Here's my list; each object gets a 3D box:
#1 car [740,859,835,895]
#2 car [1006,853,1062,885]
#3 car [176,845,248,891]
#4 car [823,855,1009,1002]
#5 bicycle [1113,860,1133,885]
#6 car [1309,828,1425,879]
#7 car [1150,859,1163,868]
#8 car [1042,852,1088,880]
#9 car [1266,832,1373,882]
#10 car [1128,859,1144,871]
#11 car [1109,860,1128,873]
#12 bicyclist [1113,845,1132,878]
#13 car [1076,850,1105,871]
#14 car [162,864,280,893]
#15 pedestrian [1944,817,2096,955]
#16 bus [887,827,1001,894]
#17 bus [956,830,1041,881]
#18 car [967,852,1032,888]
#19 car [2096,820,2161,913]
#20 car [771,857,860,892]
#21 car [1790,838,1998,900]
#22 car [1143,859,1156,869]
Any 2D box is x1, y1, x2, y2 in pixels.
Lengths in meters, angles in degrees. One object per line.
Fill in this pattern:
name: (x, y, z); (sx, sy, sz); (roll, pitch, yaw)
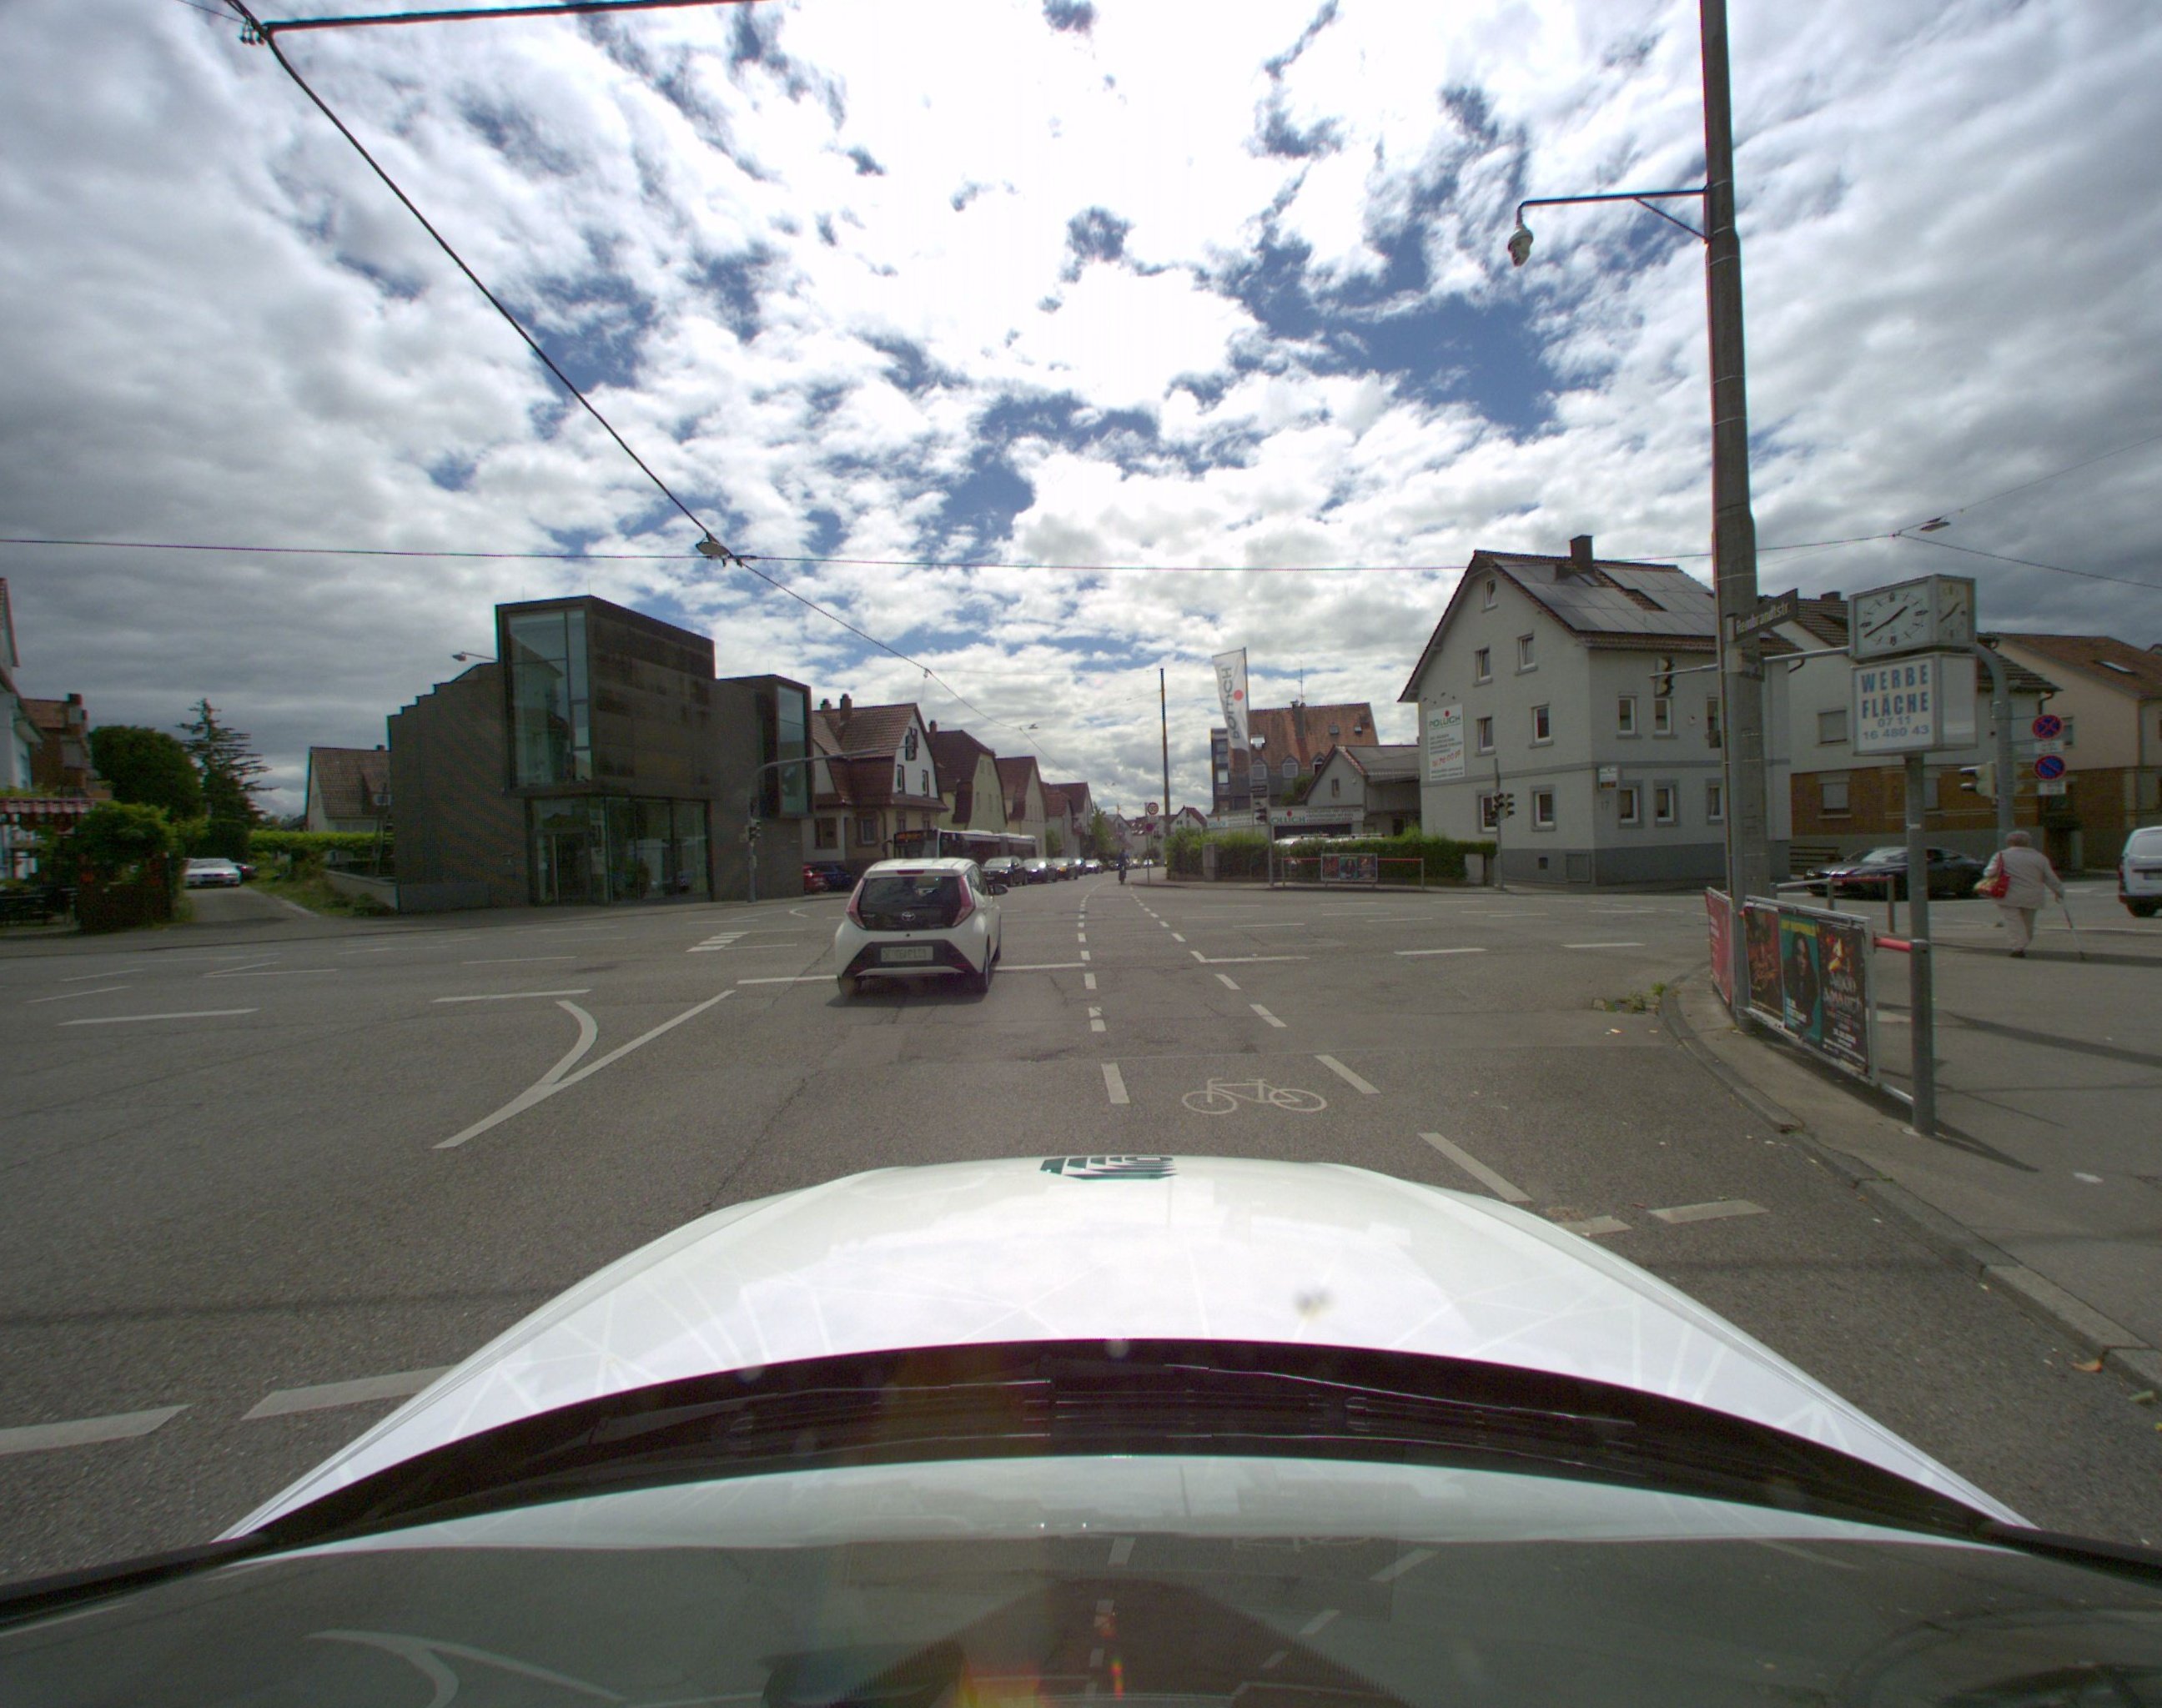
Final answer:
car: (-14.679, 1.136, 40.890); (3.964, 1.640, 2.005); (2, 0, 8)
car: (-2.538, 0.787, 45.265); (1.980, 1.640, 4.198); (-1, 0, 12)
car: (-40.688, 0.663, 38.108); (3.948, 2.013, 2.013); (-1, 0, 39)
car: (-1.859, 0.764, 10.205); (1.734, 1.460, 3.528); (-2, 0, -3)
bicycle: (2.064, 0.911, 40.687); (0.829, 1.164, 2.191); (-2, 0, -1)
car: (11.620, -0.019, 33.171); (3.993, 1.948, 1.990); (-1, 0, -14)
car: (14.720, 1.830, 159.294); (1.980, 1.640, 4.014); (-1, 0, 12)
car: (-0.962, 0.752, 52.072); (1.980, 1.640, 4.014); (-1, 0, 12)
car: (10.294, 0.114, 35.275); (3.992, 2.013, 1.991); (-1, 0, -14)
car: (8.604, 1.708, 127.208); (1.980, 1.640, 4.014); (-1, 0, 12)
car: (5.164, 1.668, 112.488); (1.980, 1.640, 4.014); (-1, 0, 12)
bicyclist: (2.052, 0.388, 40.771); (0.838, 1.614, 1.082); (-2, 0, -1)
car: (0.958, 0.640, 80.451); (1.980, 2.013, 4.014); (-1, 0, 13)
car: (-43.191, 1.202, 41.047); (4.023, 1.310, 1.515); (-2, 0, -45)
pedestrian: (11.739, 0.404, 10.225); (0.828, 1.638, 0.876); (-2, -2, 12)
bus: (-6.810, 0.260, 42.401); (2.760, 3.060, 9.219); (-1, 0, 11)
bus: (-4.975, 0.053, 51.452); (2.760, 2.914, 9.219); (-1, 0, 11)
car: (-3.957, 0.755, 40.038); (1.980, 1.640, 4.014); (-1, 0, 12)
car: (22.890, 0.186, 16.064); (4.482, 1.794, 1.908); (-1, 0, -14)
car: (-14.233, 1.097, 43.779); (3.964, 1.684, 2.005); (2, 1, 8)
car: (22.011, 0.348, 22.091); (4.611, 1.457, 1.990); (-1, 2, -16)
car: (12.670, 1.801, 150.256); (1.980, 1.640, 4.014); (-1, 0, 12)
